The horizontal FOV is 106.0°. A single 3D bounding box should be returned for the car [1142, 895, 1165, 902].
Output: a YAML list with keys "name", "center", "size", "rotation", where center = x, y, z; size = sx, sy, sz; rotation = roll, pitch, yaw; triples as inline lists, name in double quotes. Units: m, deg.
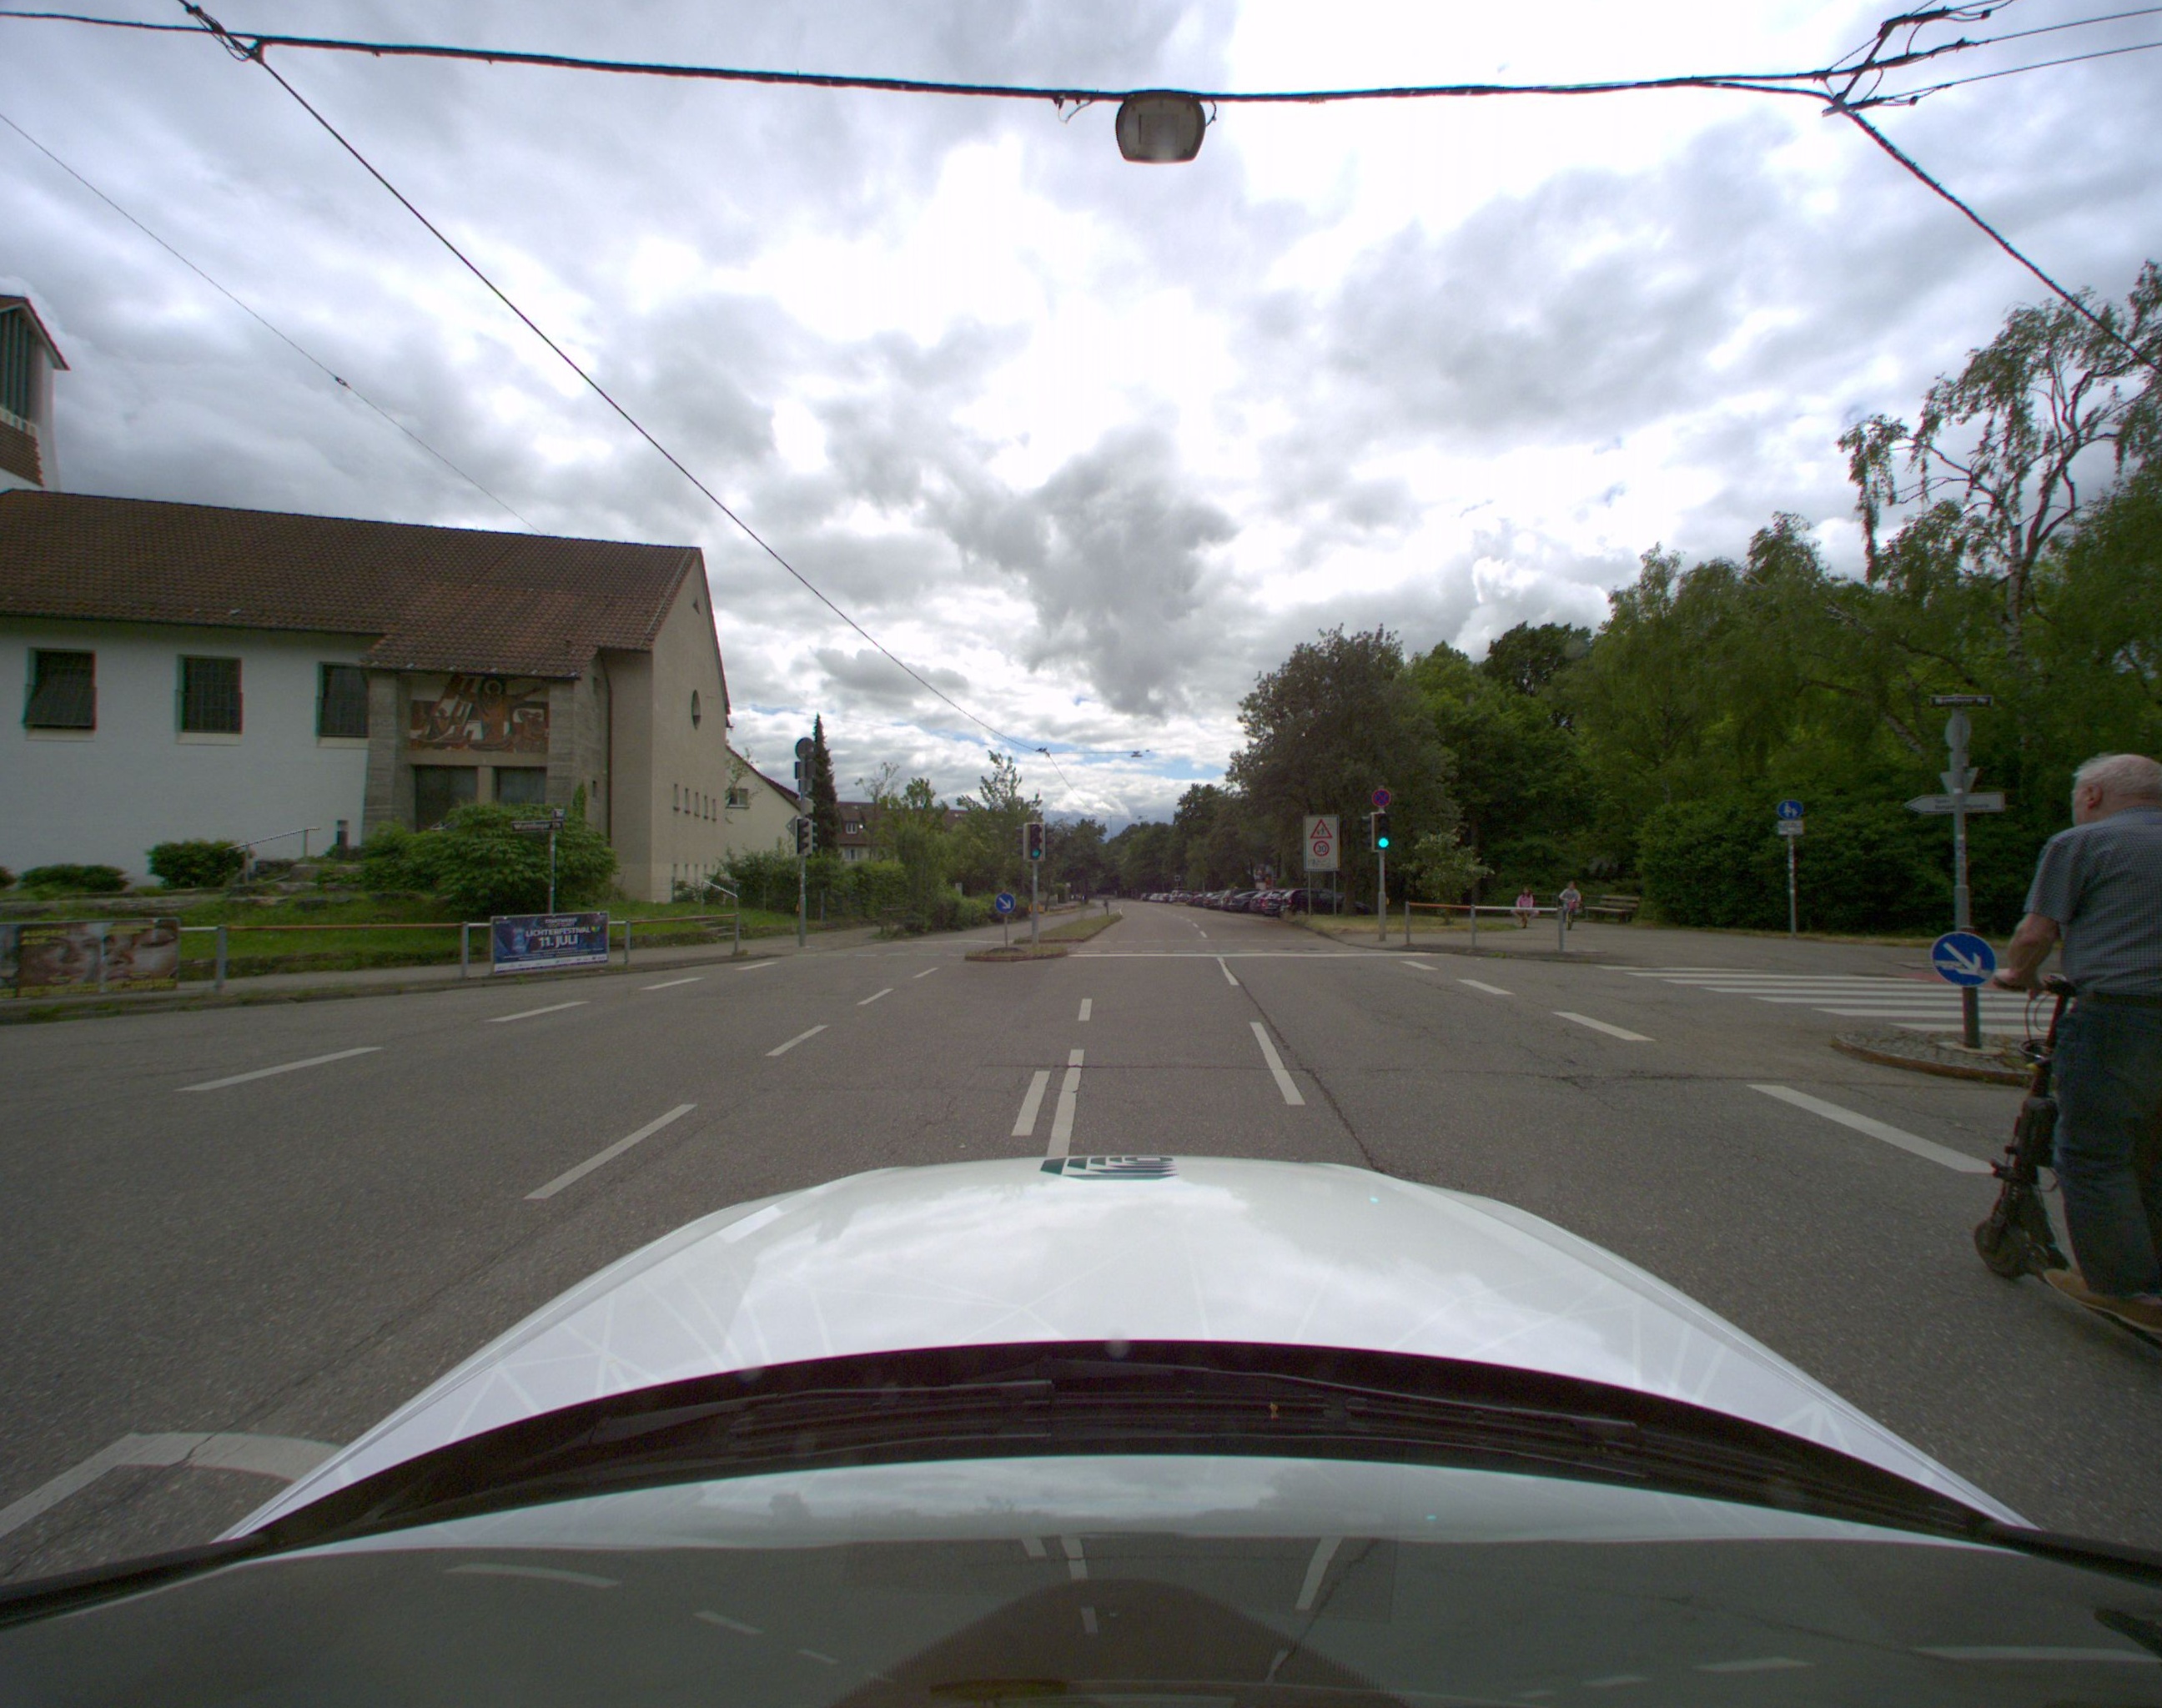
- name: "car"
  center: [13.817, 8.448, 155.226]
  size: [3.894, 1.429, 1.733]
  rotation: [1, -3, -17]

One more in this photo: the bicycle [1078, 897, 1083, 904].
- name: "bicycle"
  center: [-0.109, 8.671, 152.456]
  size: [0.842, 1.266, 2.652]
  rotation: [0, -2, 1]

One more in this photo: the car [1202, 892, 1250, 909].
- name: "car"
  center: [12.626, 4.002, 70.963]
  size: [3.839, 1.455, 1.628]
  rotation: [0, -3, -10]

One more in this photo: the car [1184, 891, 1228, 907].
- name: "car"
  center: [12.870, 4.622, 83.907]
  size: [4.084, 1.516, 1.722]
  rotation: [0, -3, -20]

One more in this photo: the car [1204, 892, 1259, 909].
- name: "car"
  center: [12.062, 3.773, 65.442]
  size: [4.032, 1.328, 1.555]
  rotation: [0, -4, -7]

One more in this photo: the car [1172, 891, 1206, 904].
- name: "car"
  center: [13.820, 5.588, 104.412]
  size: [4.002, 1.620, 1.875]
  rotation: [1, -3, -14]

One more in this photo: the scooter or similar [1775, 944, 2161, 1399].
- name: "scooter or similar"
  center: [3.319, 0.946, 2.742]
  size: [0.680, 1.139, 1.458]
  rotation: [0, -1, -2]

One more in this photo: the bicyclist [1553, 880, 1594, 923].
- name: "bicyclist"
  center: [13.546, 1.301, 22.412]
  size: [0.636, 1.162, 0.805]
  rotation: [-1, -3, 6]

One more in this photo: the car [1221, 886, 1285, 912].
- name: "car"
  center: [11.686, 3.056, 55.489]
  size: [3.981, 1.725, 1.676]
  rotation: [0, -4, -7]

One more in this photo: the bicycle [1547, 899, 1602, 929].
- name: "bicycle"
  center: [13.546, 1.631, 22.421]
  size: [0.636, 0.758, 1.683]
  rotation: [-1, -3, 7]

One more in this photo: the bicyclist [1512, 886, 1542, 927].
- name: "bicyclist"
  center: [13.197, 1.550, 24.116]
  size: [0.514, 1.187, 0.971]
  rotation: [-2, -4, 16]

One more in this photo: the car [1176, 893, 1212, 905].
- name: "car"
  center: [13.704, 5.469, 99.062]
  size: [3.968, 1.406, 1.749]
  rotation: [1, -3, -13]

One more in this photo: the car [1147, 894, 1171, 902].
- name: "car"
  center: [13.948, 7.848, 145.127]
  size: [3.894, 1.429, 1.733]
  rotation: [1, -3, -17]

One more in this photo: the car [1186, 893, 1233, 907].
- name: "car"
  center: [12.768, 4.587, 81.026]
  size: [4.314, 1.341, 1.726]
  rotation: [1, -3, -12]

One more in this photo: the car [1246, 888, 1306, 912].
- name: "car"
  center: [12.129, 2.878, 50.747]
  size: [3.323, 1.464, 1.630]
  rotation: [0, -3, -8]

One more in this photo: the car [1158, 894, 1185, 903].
- name: "car"
  center: [14.688, 7.179, 131.989]
  size: [3.896, 1.449, 1.732]
  rotation: [1, -3, -19]

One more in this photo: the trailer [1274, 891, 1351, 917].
- name: "trailer"
  center: [11.639, 2.501, 41.039]
  size: [3.398, 1.267, 1.612]
  rotation: [0, -4, -7]

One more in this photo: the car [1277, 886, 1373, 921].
- name: "car"
  center: [10.627, 2.149, 35.630]
  size: [3.703, 1.476, 1.576]
  rotation: [0, -2, 0]

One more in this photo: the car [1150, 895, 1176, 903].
- name: "car"
  center: [13.749, 7.539, 136.733]
  size: [3.900, 1.310, 1.730]
  rotation: [1, -3, -22]

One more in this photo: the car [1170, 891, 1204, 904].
- name: "car"
  center: [13.983, 5.742, 107.332]
  size: [4.105, 1.755, 1.772]
  rotation: [2, -3, -24]

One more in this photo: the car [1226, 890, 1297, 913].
- name: "car"
  center: [11.633, 3.064, 52.691]
  size: [4.157, 1.407, 1.692]
  rotation: [0, -4, -9]

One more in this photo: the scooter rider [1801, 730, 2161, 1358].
- name: "scooter rider"
  center: [3.301, 0.529, 2.726]
  size: [0.680, 1.730, 1.195]
  rotation: [0, -1, -2]

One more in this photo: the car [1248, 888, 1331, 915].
- name: "car"
  center: [11.711, 2.656, 45.820]
  size: [4.214, 1.464, 1.631]
  rotation: [0, -3, -6]

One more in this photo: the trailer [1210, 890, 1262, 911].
- name: "trailer"
  center: [11.980, 3.595, 63.101]
  size: [3.687, 1.535, 1.640]
  rotation: [1, -3, -9]

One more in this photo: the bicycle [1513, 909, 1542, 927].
- name: "bicycle"
  center: [13.197, 1.885, 24.098]
  size: [0.514, 0.497, 0.992]
  rotation: [-2, -4, 16]

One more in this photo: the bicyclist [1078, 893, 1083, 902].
- name: "bicyclist"
  center: [-0.109, 8.145, 152.537]
  size: [0.842, 1.698, 0.713]
  rotation: [0, -3, 1]

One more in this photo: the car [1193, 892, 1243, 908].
- name: "car"
  center: [12.710, 4.250, 75.558]
  size: [4.347, 1.446, 1.627]
  rotation: [1, -3, -12]

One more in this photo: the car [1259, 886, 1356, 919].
- name: "car"
  center: [10.654, 2.279, 38.486]
  size: [4.133, 1.477, 1.571]
  rotation: [0, -3, -8]

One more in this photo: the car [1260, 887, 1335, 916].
- name: "car"
  center: [11.513, 2.508, 43.305]
  size: [3.523, 1.476, 1.586]
  rotation: [0, -3, -10]
